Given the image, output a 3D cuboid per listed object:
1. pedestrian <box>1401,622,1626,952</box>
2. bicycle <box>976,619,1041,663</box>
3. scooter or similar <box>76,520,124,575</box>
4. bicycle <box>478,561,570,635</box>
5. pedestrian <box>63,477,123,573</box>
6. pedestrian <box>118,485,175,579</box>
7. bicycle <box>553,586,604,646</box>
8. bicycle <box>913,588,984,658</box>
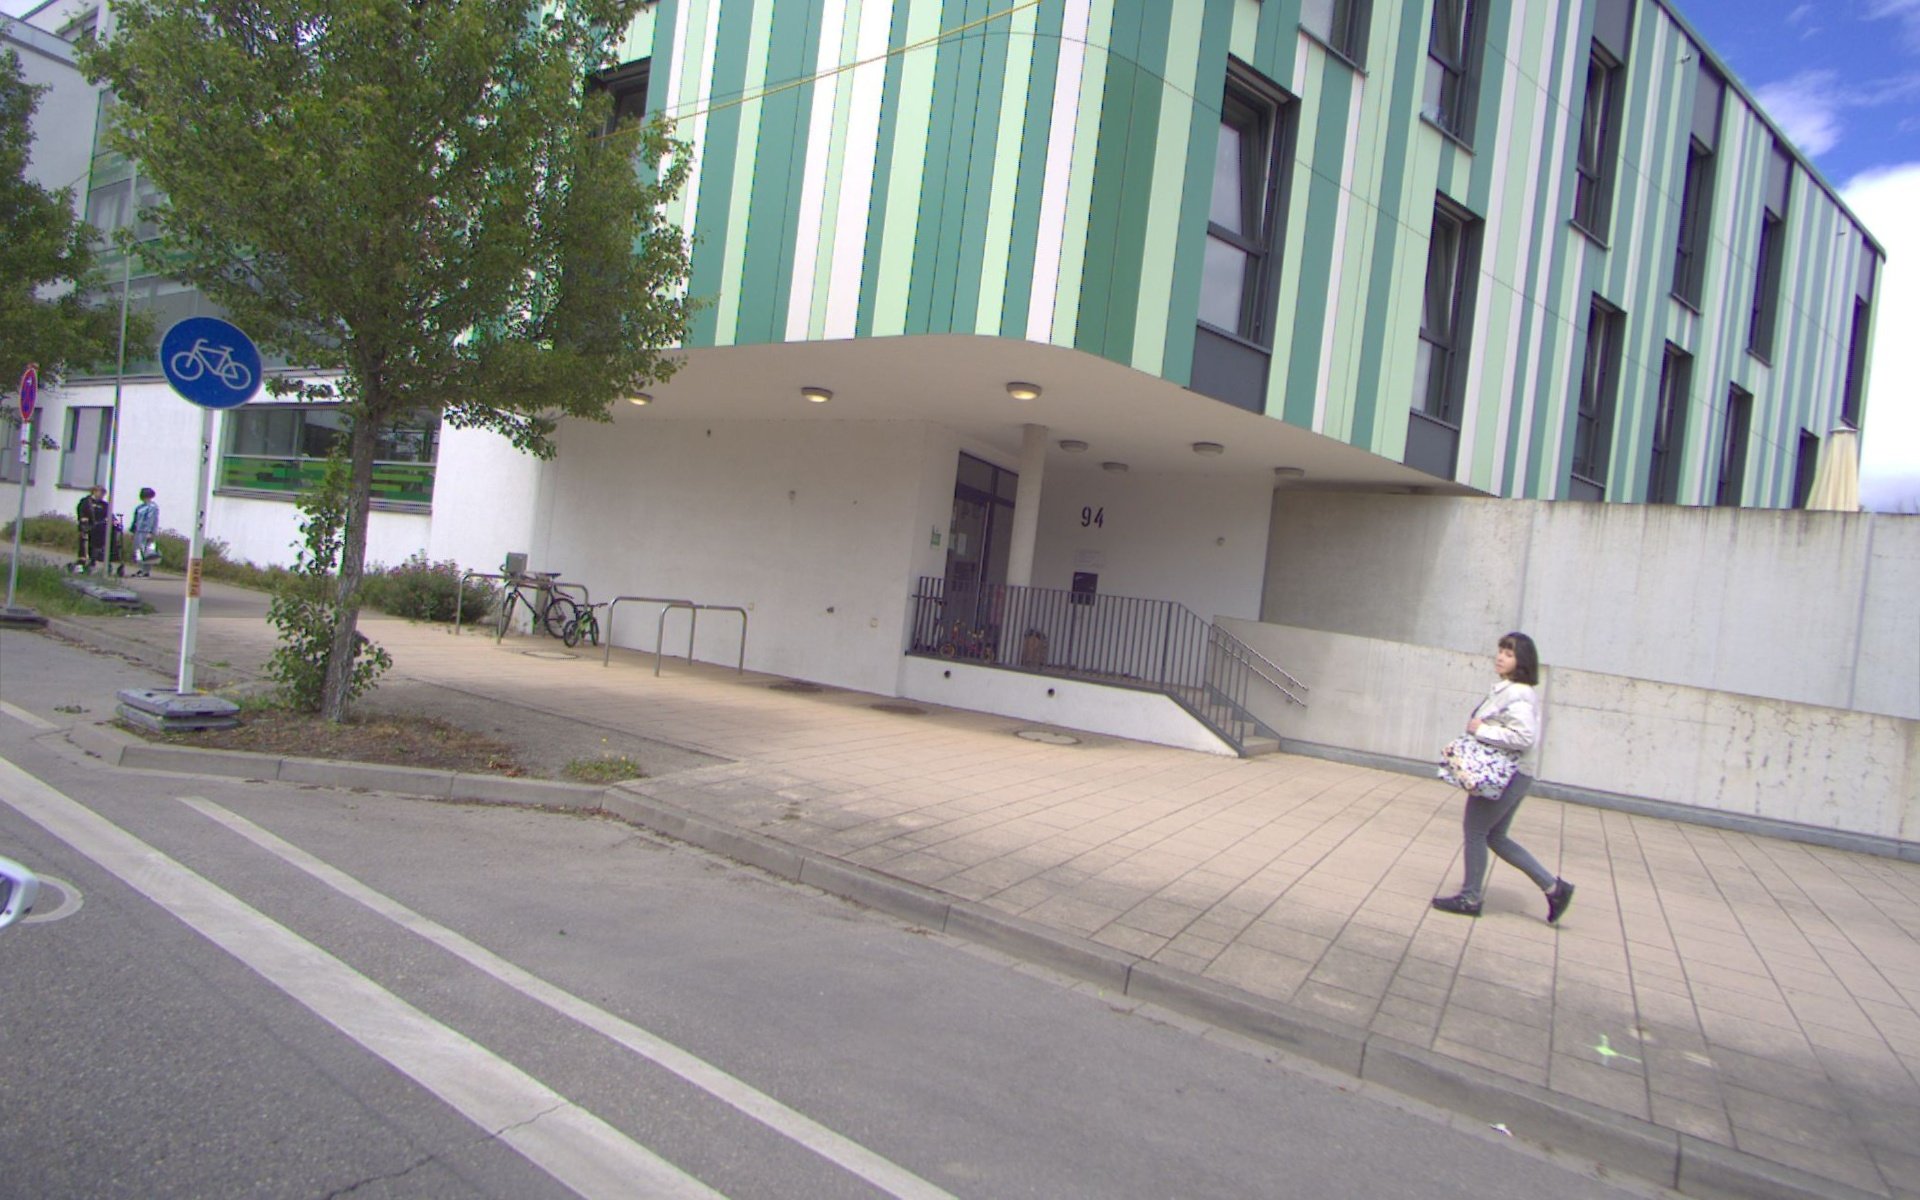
[{"bbox_3d":[3.014,0.960,5.506,0.854,1.571,0.581,8,2,32],"label":"pedestrian"},{"bbox_3d":[0.633,0.536,13.214,0.787,0.458,0.306,8,2,38],"label":"bicycle"},{"bbox_3d":[-15.747,-0.966,18.425,0.670,0.917,0.422,8,2,31],"label":"scooter or similar"},{"bbox_3d":[-6.713,-0.010,15.559,0.301,1.059,1.469,7,1,19],"label":"bicycle"},{"bbox_3d":[-16.152,-1.388,18.748,0.543,1.676,0.605,8,2,31],"label":"pedestrian"},{"bbox_3d":[-15.352,-1.276,18.990,0.597,1.676,0.550,8,2,31],"label":"pedestrian"},{"bbox_3d":[-5.734,0.227,15.166,0.301,0.852,1.024,7,1,-1],"label":"bicycle"},{"bbox_3d":[-0.140,0.322,13.541,0.302,0.852,1.021,8,2,37],"label":"bicycle"}]
